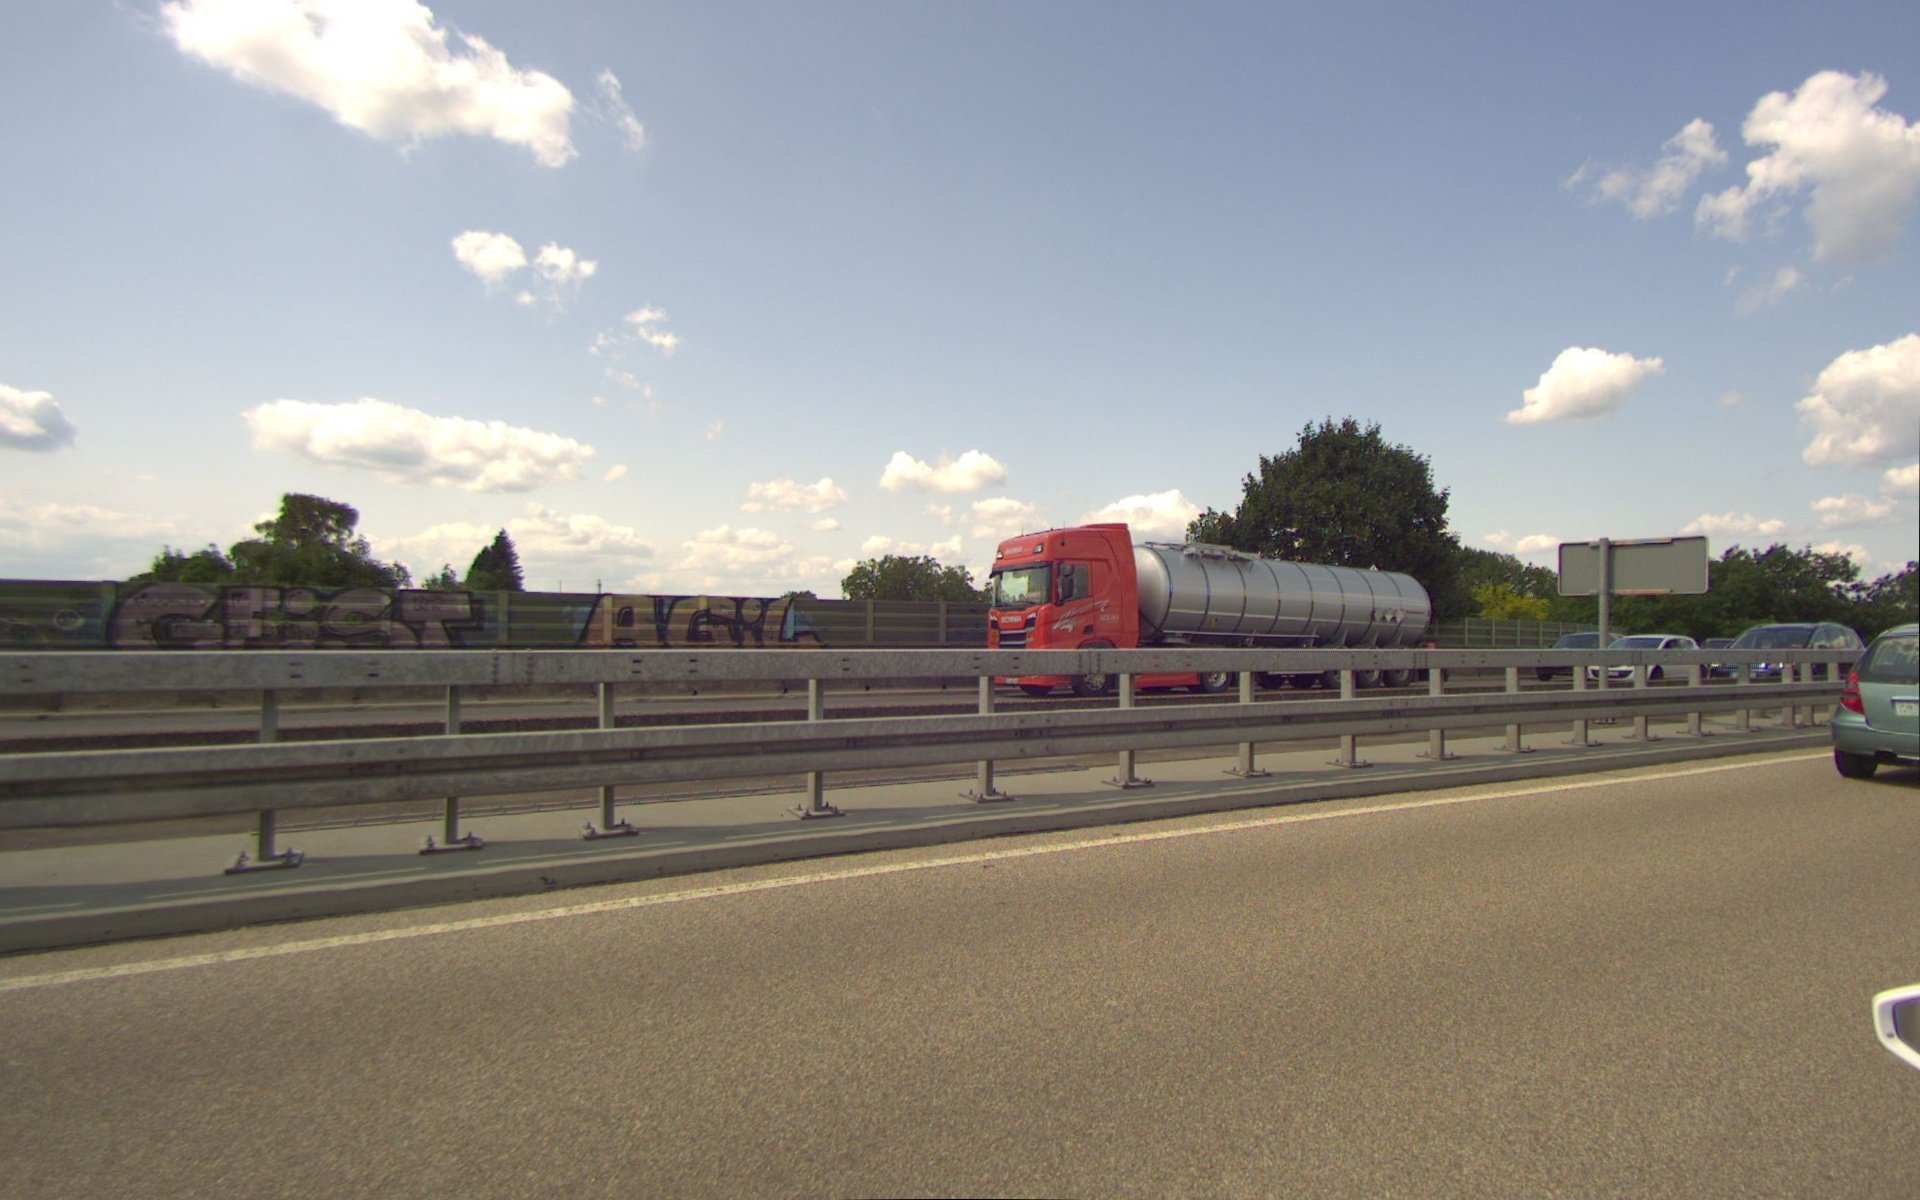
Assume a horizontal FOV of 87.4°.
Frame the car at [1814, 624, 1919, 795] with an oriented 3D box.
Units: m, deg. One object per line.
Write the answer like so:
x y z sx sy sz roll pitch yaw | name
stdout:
10.548 1.054 10.159 3.953 1.551 1.739 1 -1 -31 | car

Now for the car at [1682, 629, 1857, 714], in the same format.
19.295 1.632 23.890 4.549 1.773 1.981 2 0 -34 | car

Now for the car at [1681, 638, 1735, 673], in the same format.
37.827 2.782 50.881 1.897 1.595 4.272 0 -1 33 | car

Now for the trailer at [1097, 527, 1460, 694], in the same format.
8.718 0.377 26.463 10.907 3.718 2.669 2 0 -32 | trailer

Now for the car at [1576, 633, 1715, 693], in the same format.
19.516 1.765 28.561 3.914 1.529 1.774 2 0 -31 | car

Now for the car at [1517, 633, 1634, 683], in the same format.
21.435 2.010 34.967 4.232 1.640 1.707 2 -3 -31 | car

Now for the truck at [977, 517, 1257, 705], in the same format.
3.714 0.296 23.268 6.165 3.832 2.633 2 0 -33 | truck

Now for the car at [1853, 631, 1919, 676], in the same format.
37.282 2.097 39.688 3.843 1.595 1.914 2 0 -31 | car
